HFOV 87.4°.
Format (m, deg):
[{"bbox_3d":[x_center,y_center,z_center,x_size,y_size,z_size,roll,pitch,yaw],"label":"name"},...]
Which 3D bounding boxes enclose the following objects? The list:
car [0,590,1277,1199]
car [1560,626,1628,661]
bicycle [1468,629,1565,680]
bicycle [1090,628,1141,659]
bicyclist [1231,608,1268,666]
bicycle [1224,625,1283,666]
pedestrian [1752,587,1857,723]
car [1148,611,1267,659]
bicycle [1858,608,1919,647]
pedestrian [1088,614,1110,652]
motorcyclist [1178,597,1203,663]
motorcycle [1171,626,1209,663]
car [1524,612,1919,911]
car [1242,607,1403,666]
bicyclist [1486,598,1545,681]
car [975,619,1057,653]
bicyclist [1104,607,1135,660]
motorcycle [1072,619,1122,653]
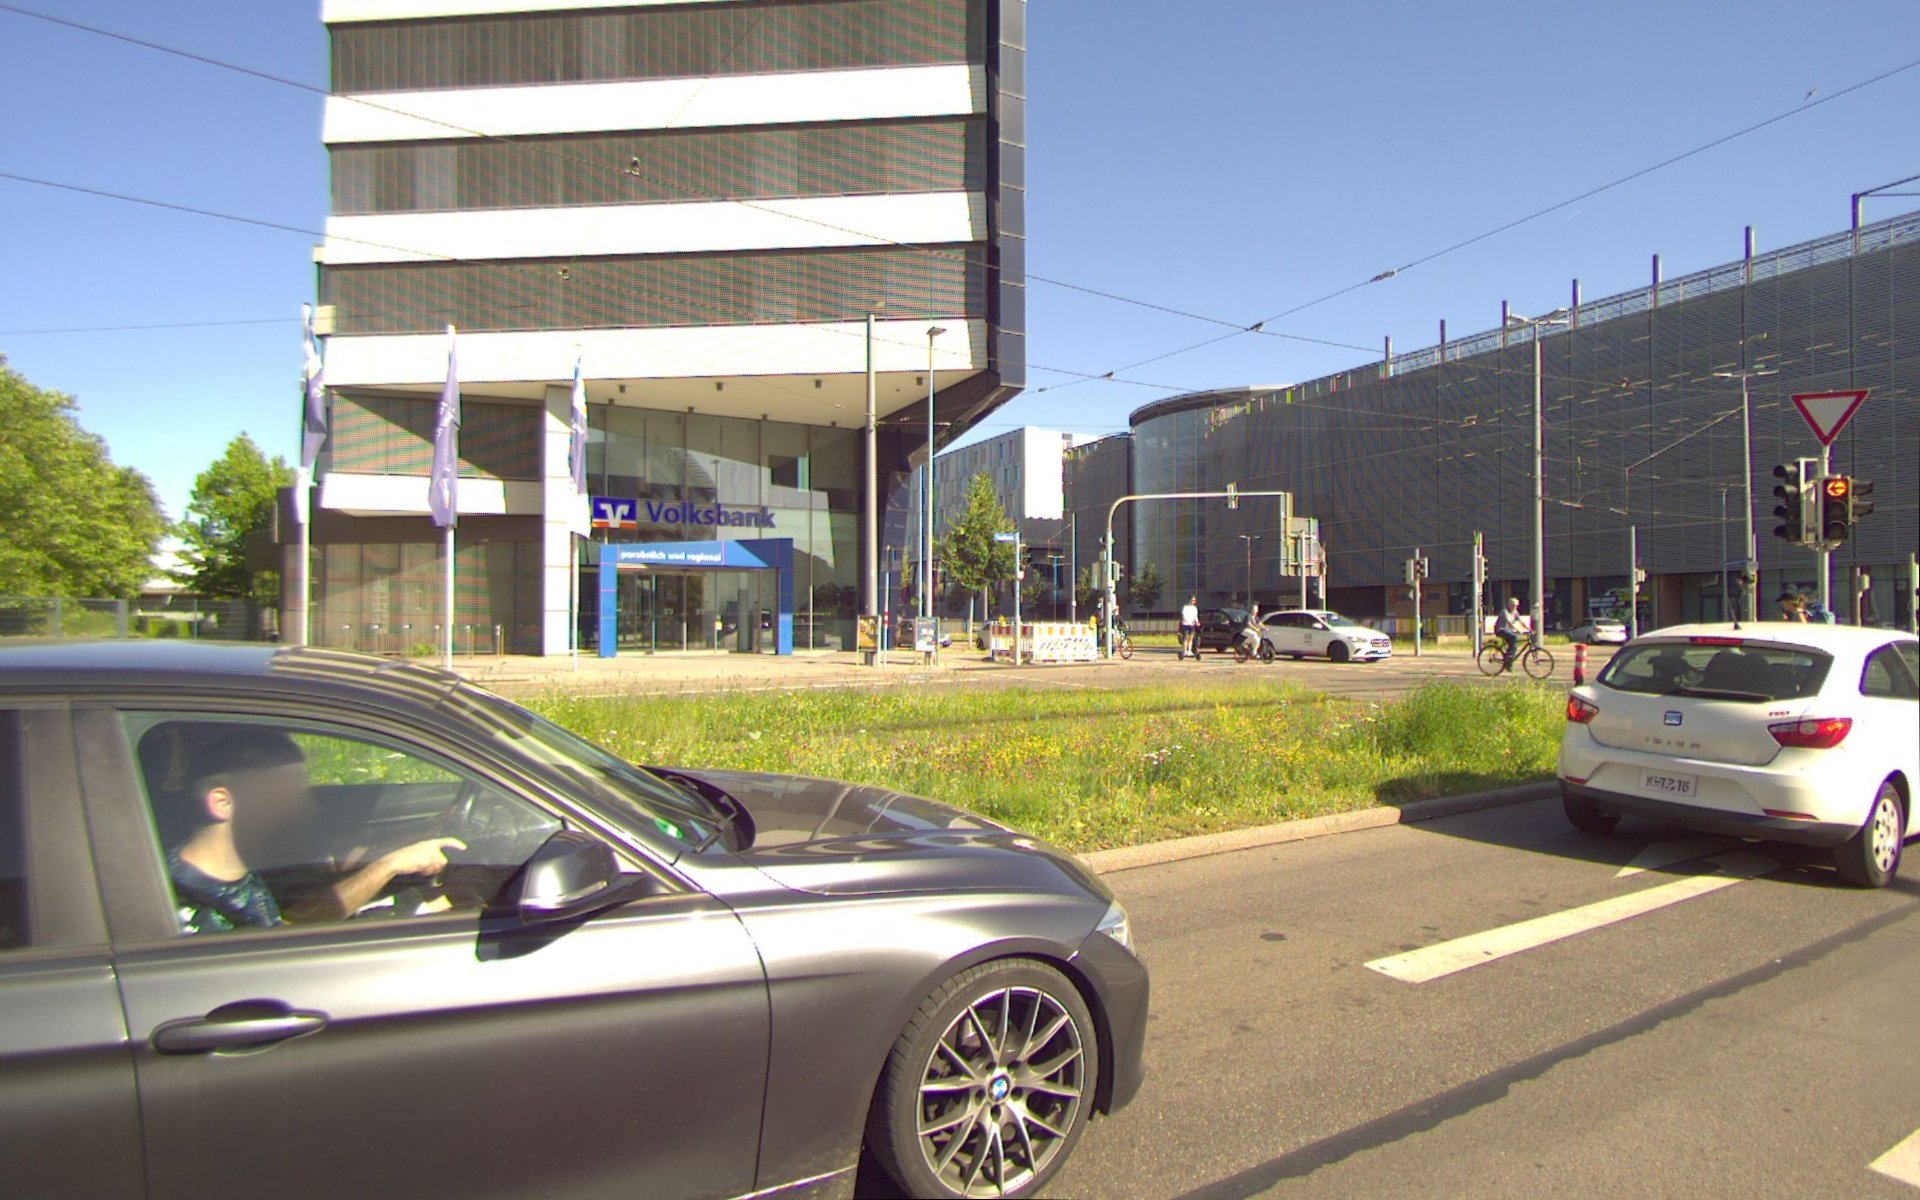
[{"bbox_3d":[-1.445,0.733,2.458,4.416,1.442,1.725,1,1,-31],"label":"car"},{"bbox_3d":[35.907,2.449,57.034,1.722,1.818,4.002,1,0,7],"label":"car"},{"bbox_3d":[12.982,1.246,23.498,0.843,1.131,1.820,1,-1,-30],"label":"bicycle"},{"bbox_3d":[5.417,1.504,35.067,0.687,1.050,1.915,1,-1,-33],"label":"bicycle"},{"bbox_3d":[8.488,1.074,29.465,0.682,1.670,0.778,1,-1,-32],"label":"bicyclist"},{"bbox_3d":[8.561,1.319,29.367,0.726,1.121,1.567,1,0,-32],"label":"bicycle"},{"bbox_3d":[11.246,0.714,13.389,0.704,1.730,0.881,1,-1,-30],"label":"pedestrian"},{"bbox_3d":[9.576,1.299,39.203,1.818,1.741,4.612,0,0,-30],"label":"car"},{"bbox_3d":[51.100,1.462,54.065,1.314,2.040,3.969,0,0,-29],"label":"bicycle"},{"bbox_3d":[6.232,1.457,44.926,0.657,1.699,0.740,1,-1,-31],"label":"pedestrian"},{"bbox_3d":[7.271,0.943,31.723,0.492,2.040,0.625,1,-1,-30],"label":"motorcyclist"},{"bbox_3d":[7.256,1.395,31.738,0.478,1.136,1.180,1,-1,-30],"label":"motorcycle"},{"bbox_3d":[5.658,0.848,6.714,3.738,1.442,1.624,1,1,-31],"label":"car"},{"bbox_3d":[11.067,1.074,30.960,1.819,1.656,4.463,0,-1,-33],"label":"car"},{"bbox_3d":[13.003,0.910,23.520,0.844,1.884,0.898,1,-1,-30],"label":"bicyclist"},{"bbox_3d":[2.498,1.615,45.779,1.889,1.483,4.061,1,-1,-28],"label":"car"},{"bbox_3d":[5.530,1.154,34.915,0.755,1.812,0.758,1,-1,-34],"label":"bicyclist"},{"bbox_3d":[6.120,1.598,45.138,0.905,1.438,2.430,1,0,-31],"label":"motorcycle"}]
